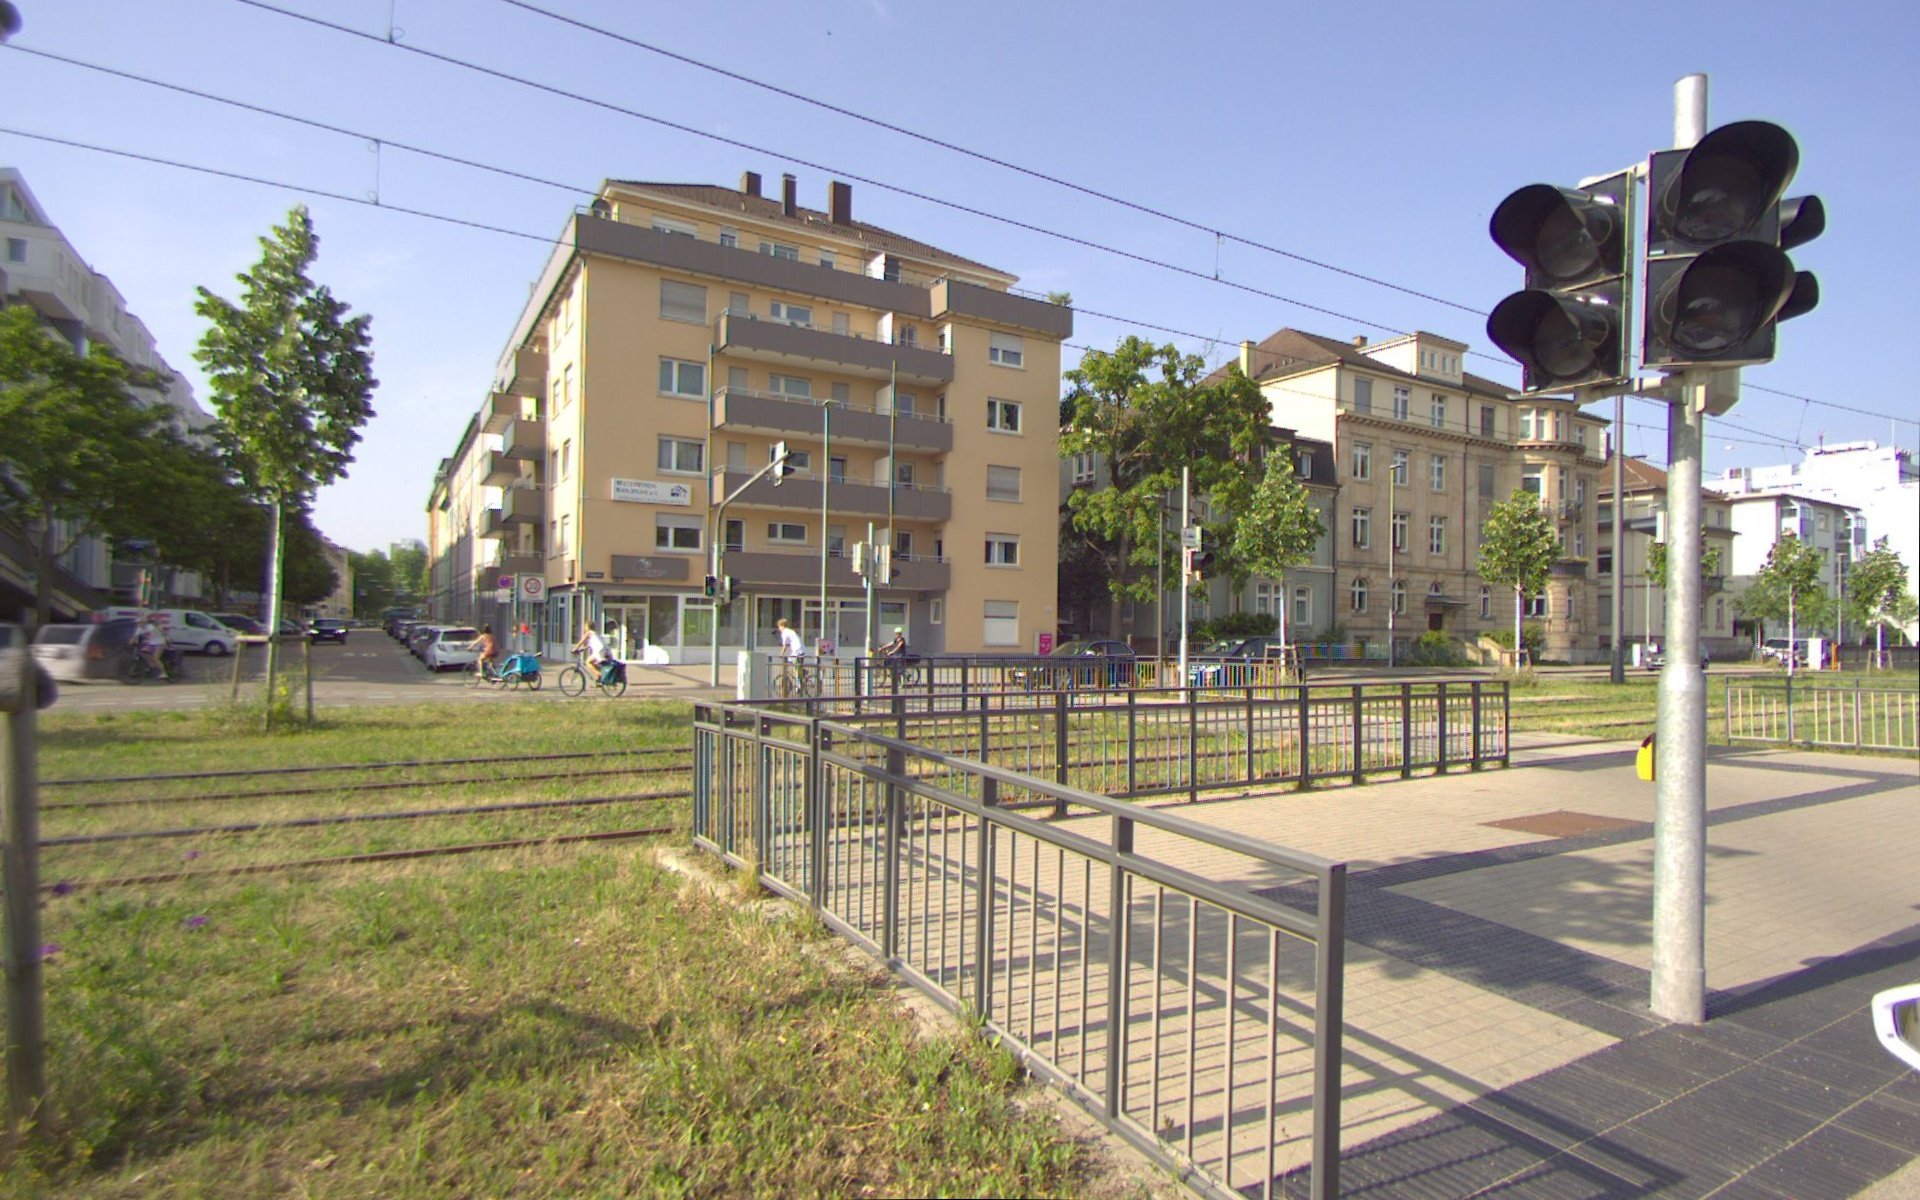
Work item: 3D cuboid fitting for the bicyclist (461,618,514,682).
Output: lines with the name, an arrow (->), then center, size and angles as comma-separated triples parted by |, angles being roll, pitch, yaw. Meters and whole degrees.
bicyclist -> -12.615, 1.332, 26.855 | 0.876, 1.650, 0.892 | 1, -1, 24

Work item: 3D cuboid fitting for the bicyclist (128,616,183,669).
bicyclist -> -21.578, 1.143, 26.951 | 0.689, 1.403, 0.914 | -1, -2, 2

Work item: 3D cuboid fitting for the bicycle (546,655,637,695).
bicycle -> -8.320, 1.681, 22.659 | 1.963, 0.804, 0.629 | 1, -1, 20

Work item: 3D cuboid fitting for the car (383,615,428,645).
car -> -31.235, 1.681, 56.500 | 1.798, 1.625, 3.914 | 2, -2, -35

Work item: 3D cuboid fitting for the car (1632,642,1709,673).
car -> 39.260, 3.169, 55.481 | 4.479, 1.597, 1.983 | 2, -2, -32

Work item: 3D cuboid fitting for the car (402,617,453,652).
car -> -26.744, 1.706, 50.355 | 1.798, 1.625, 3.914 | 2, -2, -35

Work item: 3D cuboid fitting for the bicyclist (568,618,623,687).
bicyclist -> -8.197, 1.168, 22.622 | 0.967, 1.520, 0.620 | 1, -1, 20

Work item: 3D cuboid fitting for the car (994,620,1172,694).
car -> 3.739, 1.679, 30.070 | 5.246, 2.040, 1.982 | 2, -2, -33

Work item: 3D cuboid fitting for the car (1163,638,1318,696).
car -> 8.167, 1.918, 29.153 | 4.351, 1.533, 1.982 | 2, -2, -33

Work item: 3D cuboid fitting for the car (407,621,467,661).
car -> -22.709, 1.736, 43.531 | 1.798, 1.625, 3.914 | 2, -2, -35

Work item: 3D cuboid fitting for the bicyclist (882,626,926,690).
bicyclist -> -1.634, 1.692, 29.439 | 1.073, 1.829, 0.664 | 2, -1, -35

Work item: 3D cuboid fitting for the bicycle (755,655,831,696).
bicycle -> -3.779, 1.716, 22.817 | 1.573, 0.808, 0.720 | 3, 0, -3

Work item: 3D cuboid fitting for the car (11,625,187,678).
car -> -29.509, 1.781, 34.616 | 4.336, 1.650, 1.897 | 3, 0, -34

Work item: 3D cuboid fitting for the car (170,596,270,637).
car -> -38.807, 0.889, 52.797 | 3.954, 2.040, 1.984 | 2, -2, -31

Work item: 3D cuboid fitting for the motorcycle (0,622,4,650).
motorcycle -> -37.318, 1.336, 37.745 | 1.924, 1.031, 0.552 | 2, -2, -31

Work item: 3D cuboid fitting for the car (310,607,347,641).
car -> -39.142, 1.483, 62.299 | 1.791, 2.040, 3.966 | 2, -2, -31

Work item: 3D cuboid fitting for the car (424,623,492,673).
car -> -17.711, 1.639, 35.364 | 1.691, 1.604, 3.601 | -1, 0, -34

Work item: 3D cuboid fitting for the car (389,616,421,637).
car -> -43.897, 2.070, 79.447 | 1.798, 1.625, 3.914 | 2, -2, -35

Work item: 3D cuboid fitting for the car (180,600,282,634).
car -> -43.595, 1.038, 60.202 | 4.715, 1.843, 1.984 | 2, -2, -31

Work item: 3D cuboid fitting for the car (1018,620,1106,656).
car -> 5.139, 1.915, 51.144 | 2.141, 1.771, 4.604 | 2, -2, -32

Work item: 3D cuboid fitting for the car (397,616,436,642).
car -> -35.453, 1.869, 65.533 | 1.798, 1.625, 3.914 | 2, -2, -35

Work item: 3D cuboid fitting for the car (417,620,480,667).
car -> -19.897, 1.671, 39.033 | 1.756, 1.711, 3.765 | 2, -2, -33

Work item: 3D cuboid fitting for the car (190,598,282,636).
car -> -41.038, 0.979, 57.051 | 3.954, 2.040, 1.984 | 2, -2, -31

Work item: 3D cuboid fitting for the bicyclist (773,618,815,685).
bicyclist -> -3.771, 1.162, 22.823 | 0.790, 1.459, 0.687 | 3, 0, -2

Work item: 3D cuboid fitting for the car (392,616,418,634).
car -> -52.042, 2.308, 94.163 | 1.798, 1.625, 3.914 | 2, -2, -35

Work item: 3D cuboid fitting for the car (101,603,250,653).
car -> -33.941, 1.241, 43.637 | 4.778, 1.994, 1.984 | 3, -2, -31

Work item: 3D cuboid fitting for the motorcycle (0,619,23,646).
motorcycle -> -38.476, 1.277, 39.755 | 1.924, 1.031, 0.552 | 2, -2, -31

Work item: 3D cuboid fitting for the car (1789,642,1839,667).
car -> 55.869, 3.543, 65.709 | 3.783, 1.483, 1.510 | 1, -1, -33

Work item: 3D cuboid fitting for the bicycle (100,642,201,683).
bicycle -> -21.594, 1.650, 26.879 | 0.693, 1.012, 2.347 | 1, -1, 3

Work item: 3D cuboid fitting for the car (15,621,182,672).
car -> -31.095, 1.700, 36.448 | 4.336, 1.650, 1.897 | 3, 0, -34

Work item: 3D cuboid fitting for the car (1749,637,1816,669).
car -> 60.140, 3.873, 73.422 | 5.208, 2.040, 2.236 | 4, -1, -33

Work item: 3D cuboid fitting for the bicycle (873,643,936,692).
bicycle -> -1.627, 1.968, 29.441 | 1.741, 1.364, 0.690 | 2, -2, -36

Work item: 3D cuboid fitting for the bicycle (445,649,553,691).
bicycle -> -12.257, 1.835, 26.663 | 2.941, 0.978, 0.900 | 0, -2, 25
